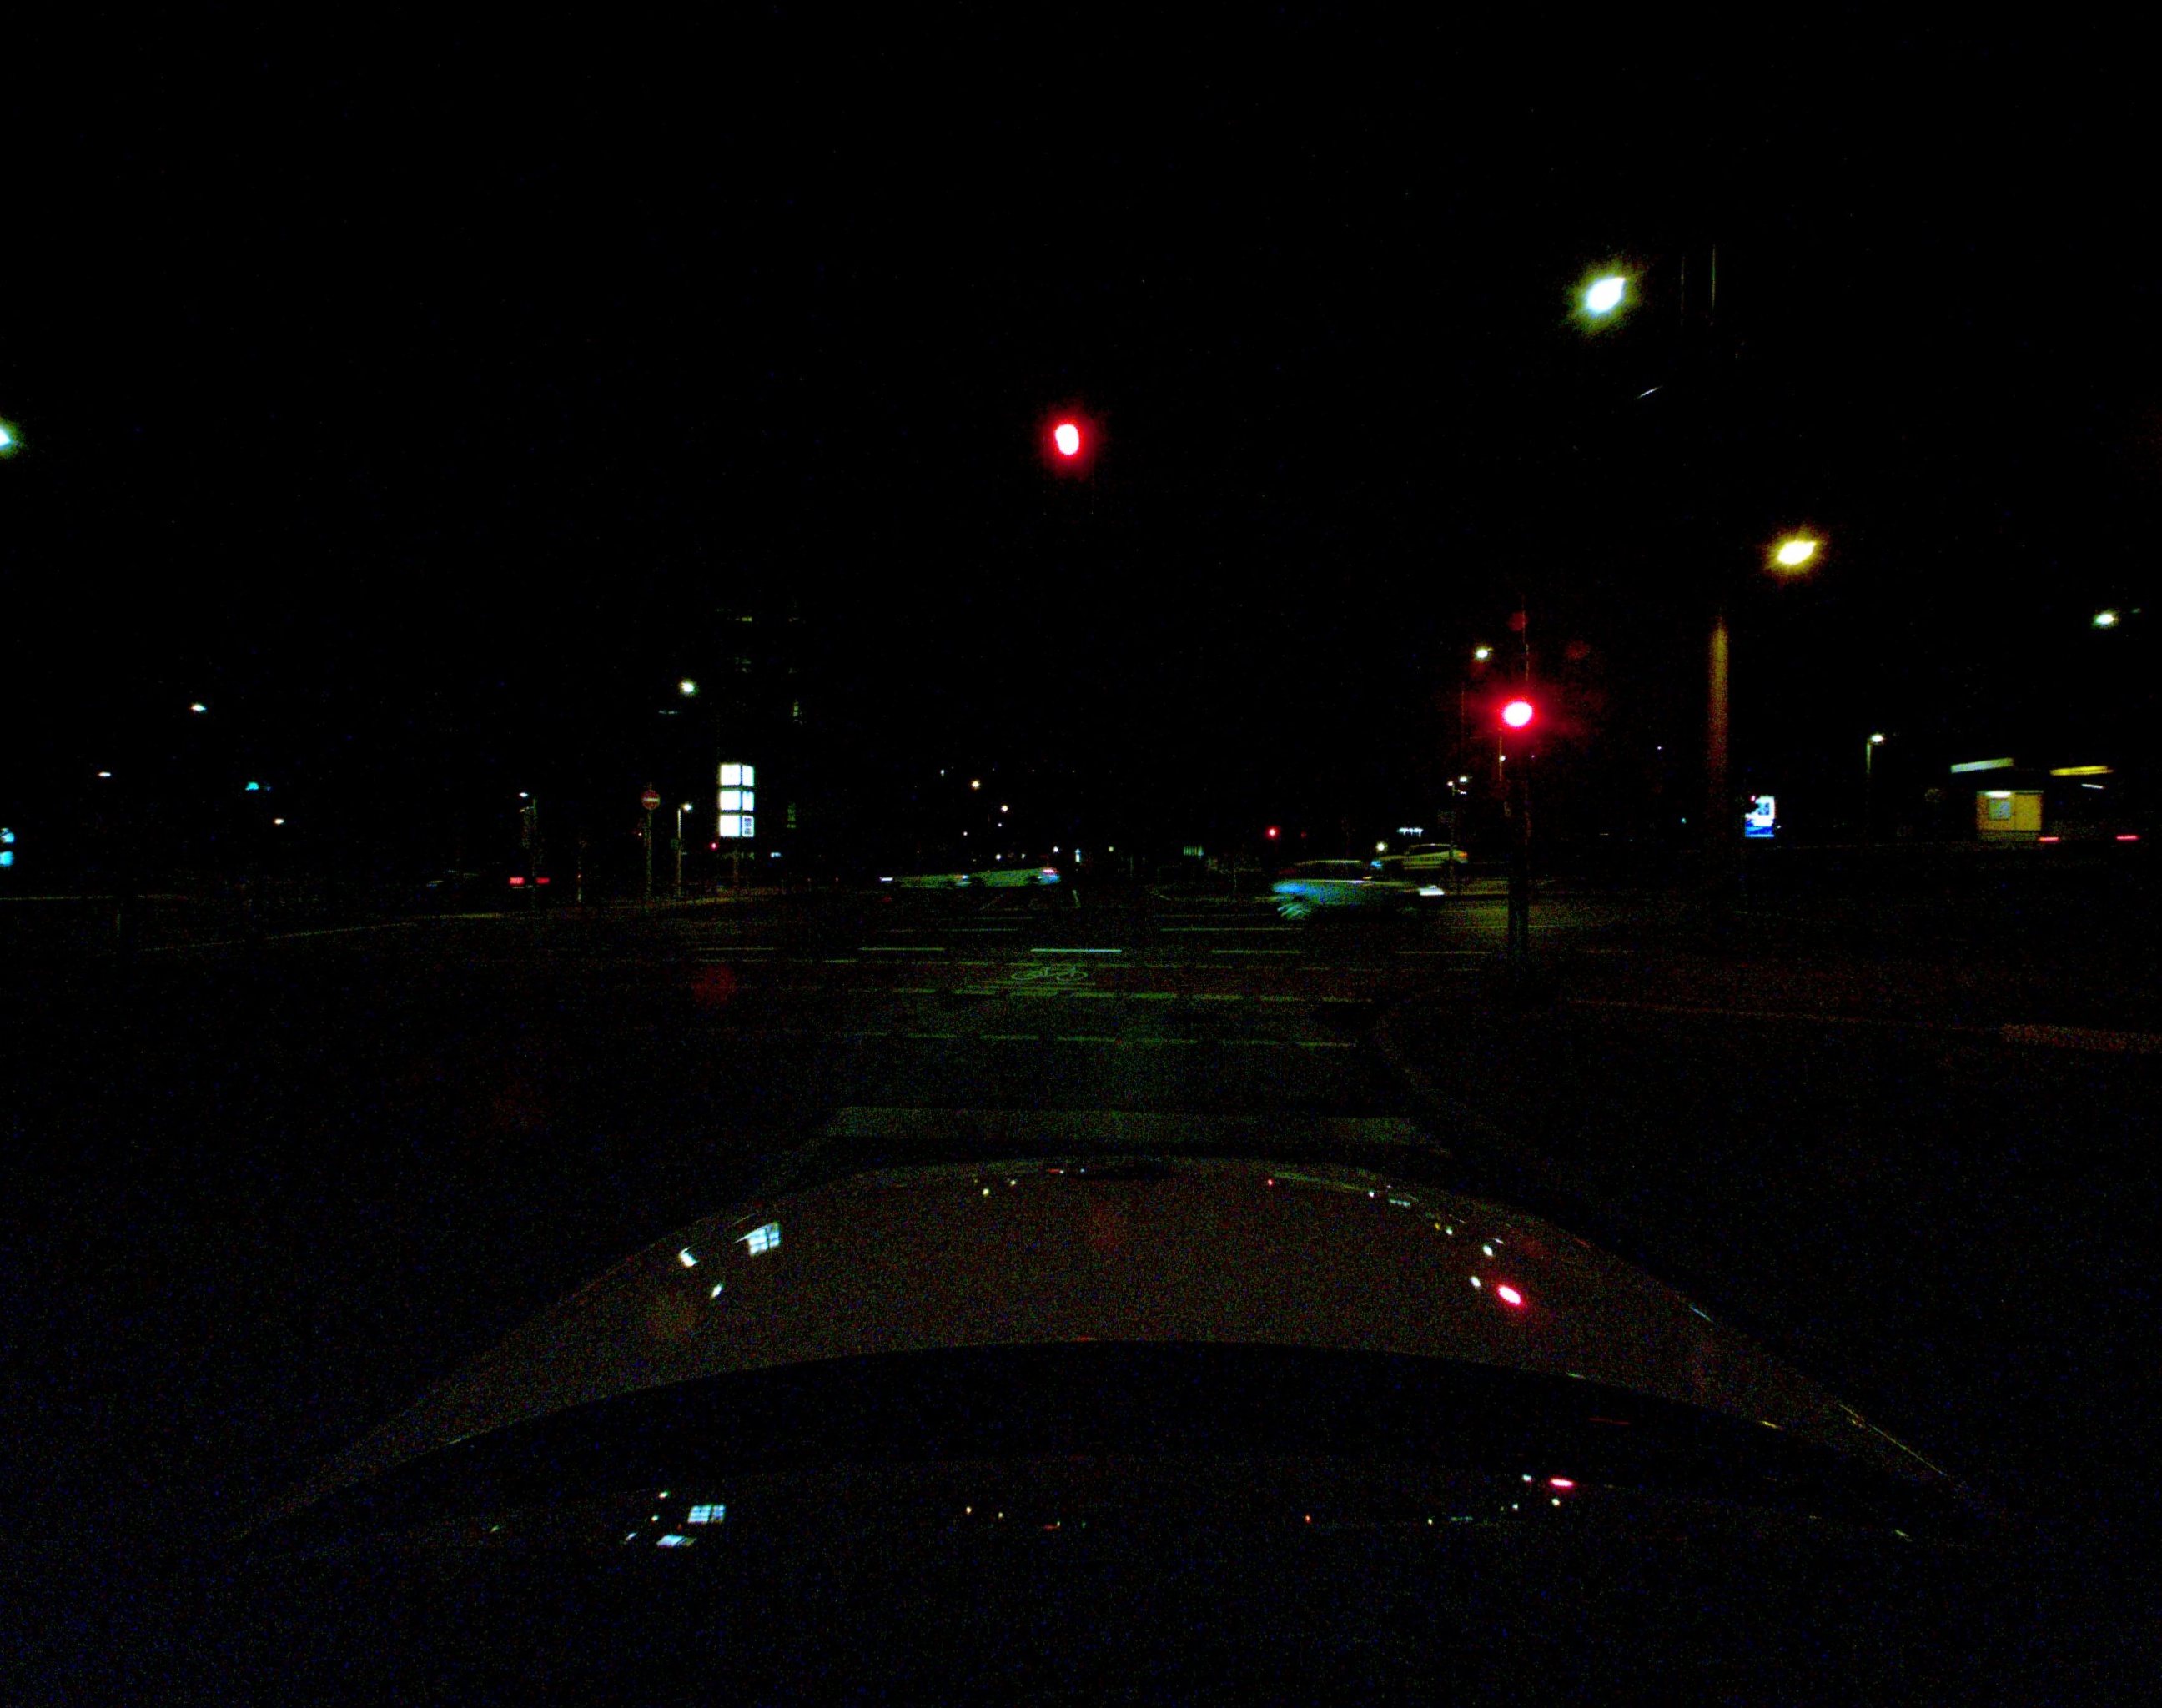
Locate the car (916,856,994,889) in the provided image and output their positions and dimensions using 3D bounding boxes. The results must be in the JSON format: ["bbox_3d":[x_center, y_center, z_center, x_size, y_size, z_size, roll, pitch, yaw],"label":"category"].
[{"bbox_3d":[-6.855,1.010,44.460,3.798,1.631,1.816,-2,0,8],"label":"car"}]

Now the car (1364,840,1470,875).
[{"bbox_3d":[16.241,0.188,39.511,4.377,1.644,1.944,0,-1,5],"label":"car"}]

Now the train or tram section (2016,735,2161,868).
[{"bbox_3d":[39.791,-1.835,24.534,18.328,3.849,2.970,-2,1,5],"label":"train or tram section"}]

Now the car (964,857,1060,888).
[{"bbox_3d":[-3.394,0.886,40.594,4.553,1.486,1.781,0,0,5],"label":"car"}]

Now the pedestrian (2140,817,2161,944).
[{"bbox_3d":[14.230,0.321,10.211,0.870,1.656,0.843,-7,-5,42],"label":"pedestrian"}]

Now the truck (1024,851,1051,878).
[{"bbox_3d":[-7.994,1.921,149.254,3.366,4.843,7.865,0,-1,-14],"label":"truck"}]

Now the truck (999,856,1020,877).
[{"bbox_3d":[-10.638,1.847,120.571,2.419,3.089,6.412,0,-1,-11],"label":"truck"}]

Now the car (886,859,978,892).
[{"bbox_3d":[-6.882,0.986,37.957,3.817,1.486,1.871,0,-1,5],"label":"car"}]

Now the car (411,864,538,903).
[{"bbox_3d":[-29.626,1.429,39.845,4.920,1.884,1.871,0,-1,5],"label":"car"}]

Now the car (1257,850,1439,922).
[{"bbox_3d":[6.010,0.701,18.665,3.669,1.420,1.645,-3,0,5],"label":"car"}]

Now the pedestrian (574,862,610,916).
[{"bbox_3d":[-15.842,1.139,26.396,0.700,1.722,0.681,0,-1,10],"label":"pedestrian"}]
